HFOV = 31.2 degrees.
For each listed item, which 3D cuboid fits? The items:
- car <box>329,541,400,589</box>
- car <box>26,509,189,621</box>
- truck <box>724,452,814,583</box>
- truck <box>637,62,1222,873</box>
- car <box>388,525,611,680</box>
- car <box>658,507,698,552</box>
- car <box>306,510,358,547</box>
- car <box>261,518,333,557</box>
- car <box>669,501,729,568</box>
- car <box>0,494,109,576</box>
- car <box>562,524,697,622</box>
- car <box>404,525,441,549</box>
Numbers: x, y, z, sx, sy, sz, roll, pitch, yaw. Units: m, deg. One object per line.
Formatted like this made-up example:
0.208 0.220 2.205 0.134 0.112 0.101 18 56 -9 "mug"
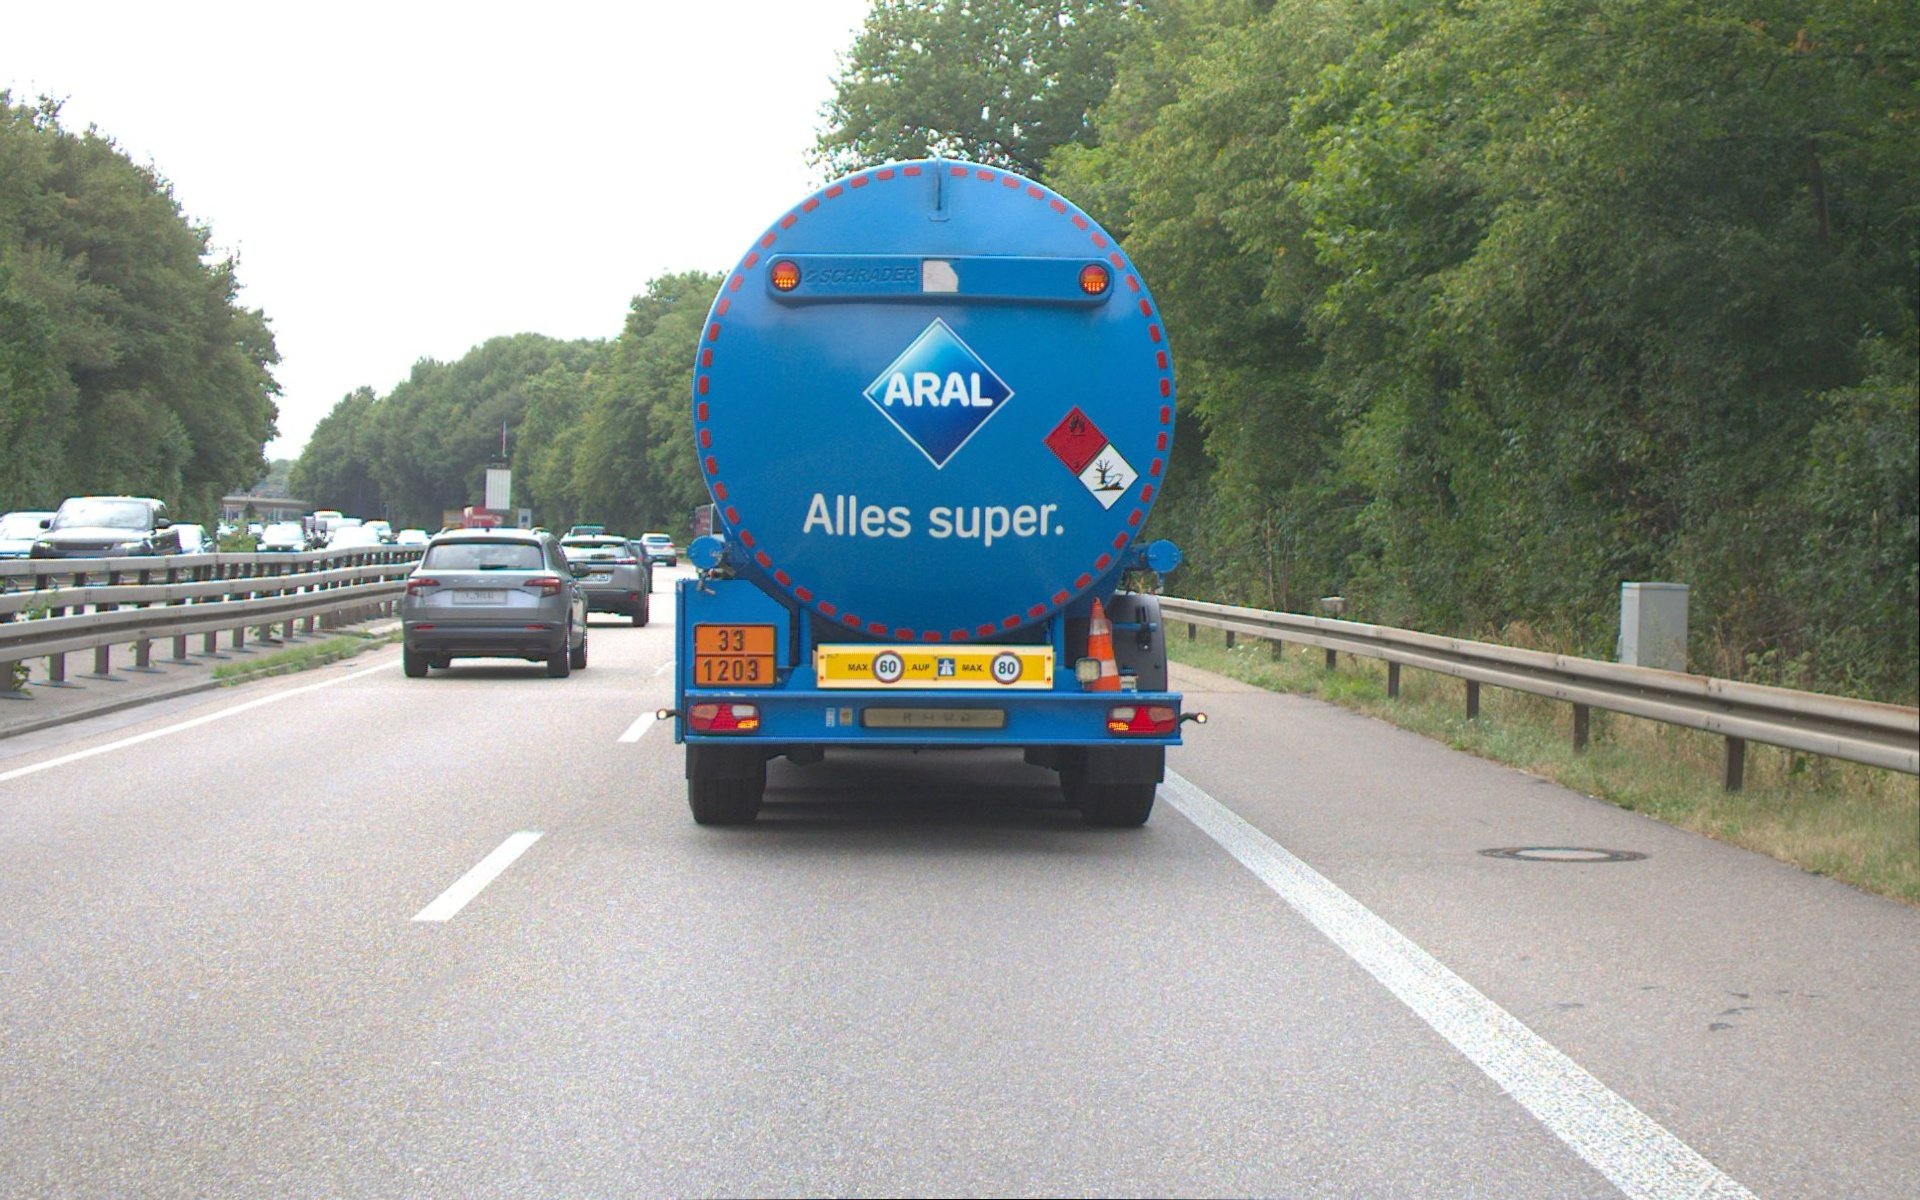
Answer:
-18.225 -1.082 105.371 1.711 1.422 4.057 0 1 -3 "car"
-14.521 -0.601 58.818 1.791 1.830 4.957 0 1 -3 "car"
-4.757 -1.989 84.838 1.993 3.082 7.816 0 1 -5 "truck"
-0.303 -0.666 20.191 2.755 3.833 7.689 0 1 -2 "truck"
-5.029 0.000 38.041 1.826 1.604 4.167 0 1 1 "car"
-14.279 -3.552 174.239 1.993 2.237 4.001 0 1 -5 "car"
-31.519 -3.567 172.630 2.034 1.798 5.124 0 1 -4 "car"
-22.739 -2.143 118.040 1.977 1.295 4.069 0 1 -5 "car"
-8.976 -2.239 118.312 1.993 2.237 4.001 0 1 -4 "car"
-18.466 -1.292 69.415 1.730 1.596 4.132 0 1 -3 "car"
-5.645 -0.474 59.135 1.826 1.604 4.167 0 1 1 "car"
-30.028 -3.523 192.172 1.655 1.274 4.714 2 0 -4 "car"
